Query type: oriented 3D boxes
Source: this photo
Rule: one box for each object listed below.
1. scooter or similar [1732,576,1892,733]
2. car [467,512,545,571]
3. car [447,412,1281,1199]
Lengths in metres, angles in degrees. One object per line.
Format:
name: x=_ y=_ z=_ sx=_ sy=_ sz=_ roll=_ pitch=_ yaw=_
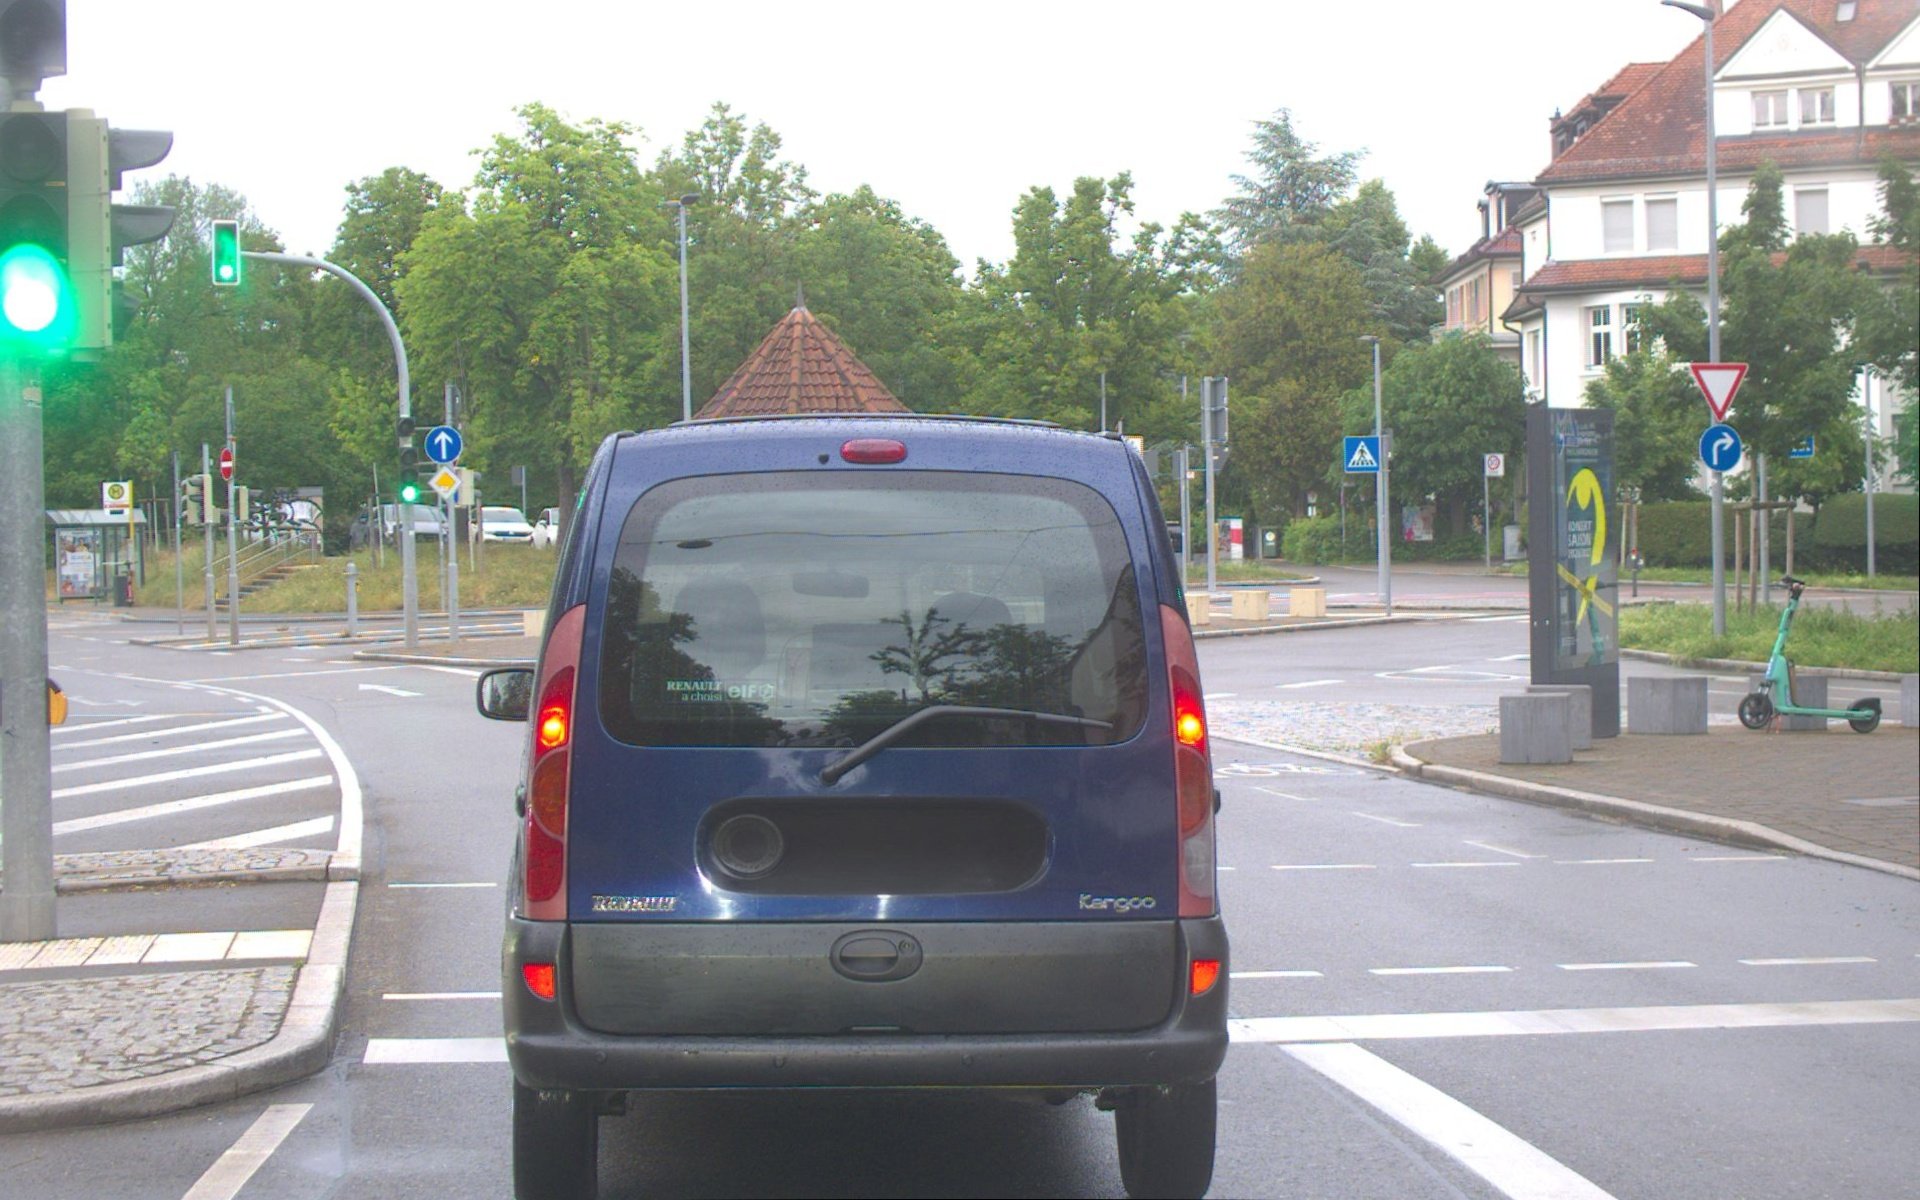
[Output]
scooter or similar: x=6.751 y=0.430 z=27.271 sx=1.149 sy=1.215 sz=0.406 roll=-1 pitch=-1 yaw=-1
car: x=-14.420 y=-1.848 z=109.430 sx=1.993 sy=1.806 sz=4.000 roll=0 pitch=0 yaw=-1
car: x=-0.278 y=0.469 z=9.149 sx=1.731 sy=1.780 sz=4.001 roll=0 pitch=1 yaw=-2
